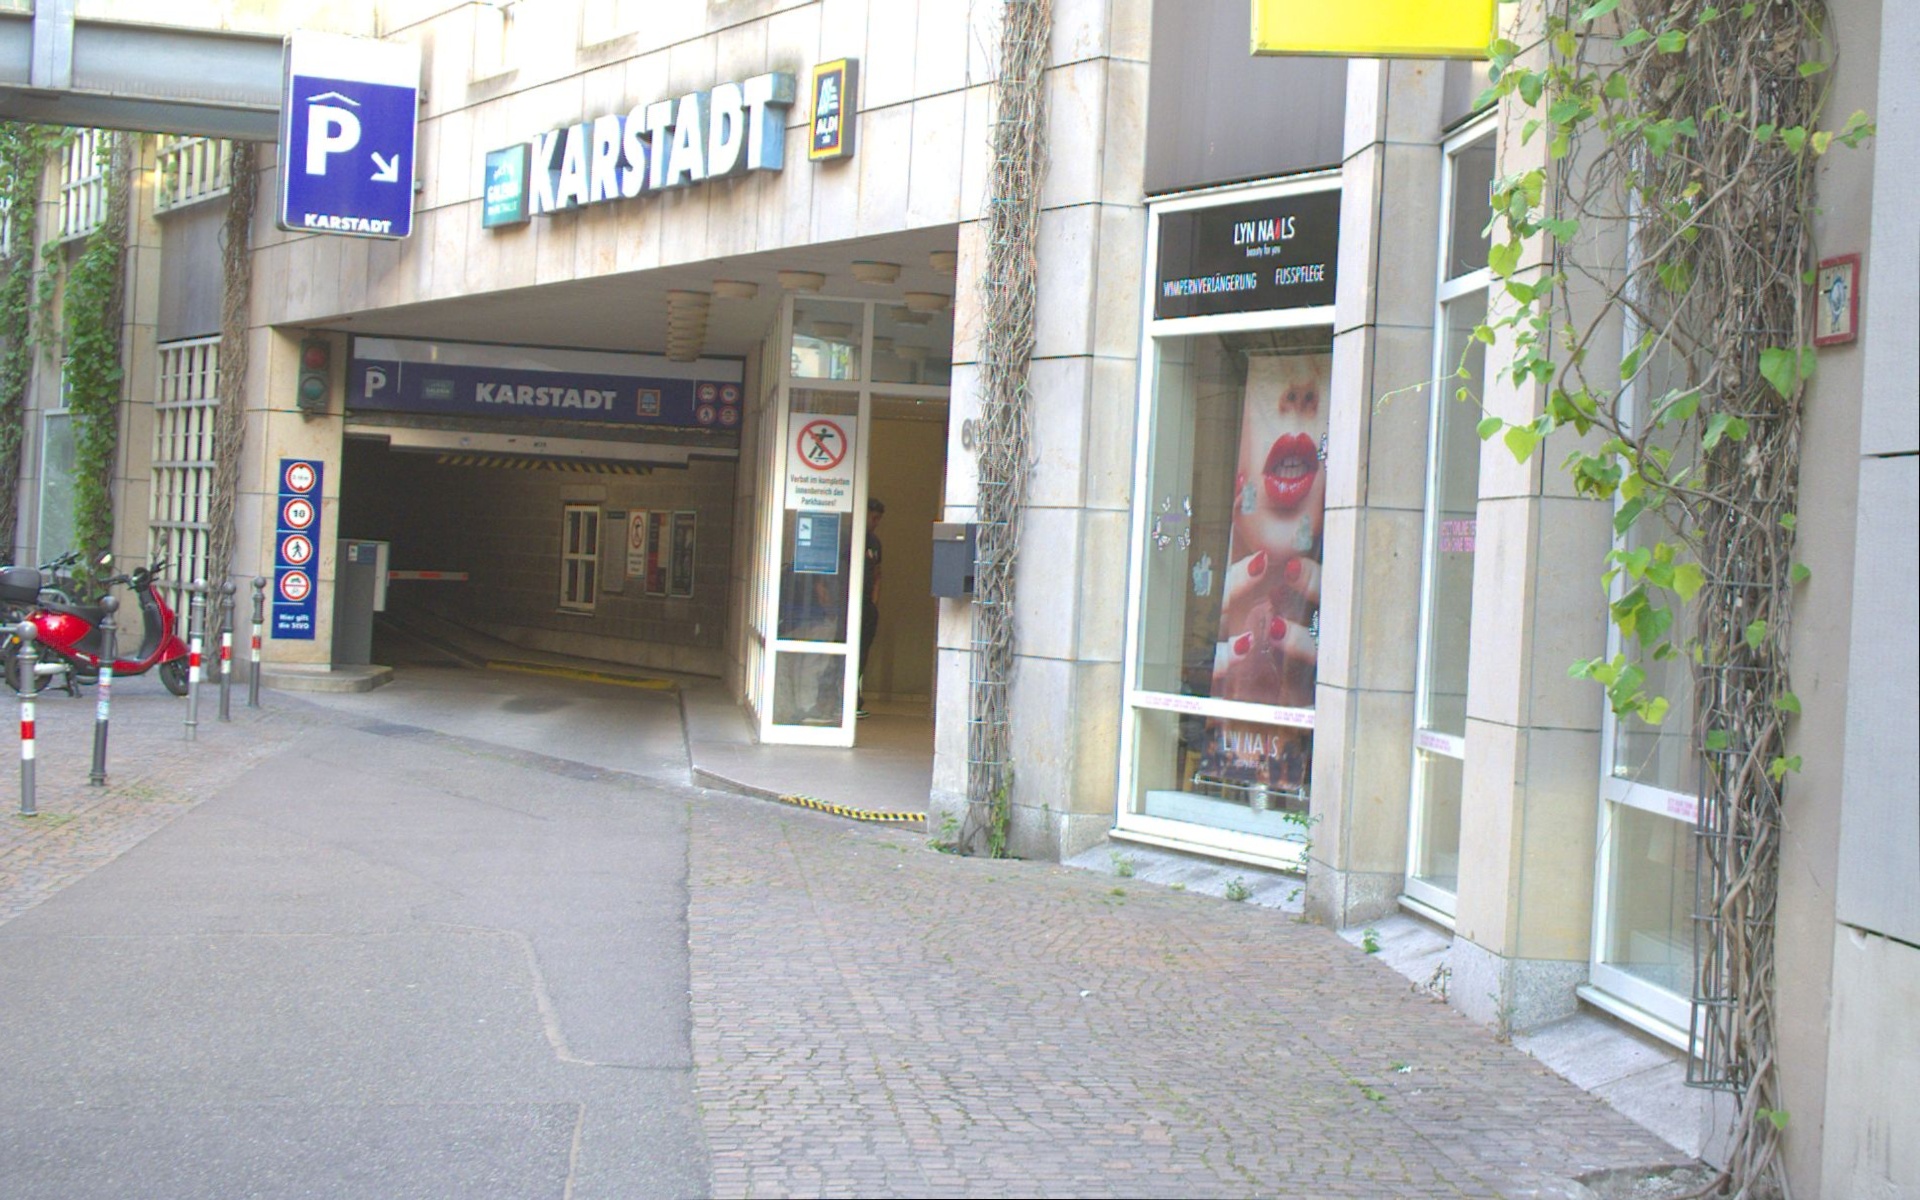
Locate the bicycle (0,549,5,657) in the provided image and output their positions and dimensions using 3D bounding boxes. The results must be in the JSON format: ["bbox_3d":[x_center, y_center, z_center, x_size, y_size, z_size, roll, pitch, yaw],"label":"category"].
[{"bbox_3d":[-10.815,-0.004,35.409,1.773,1.110,0.543,2,1,-26],"label":"bicycle"}]

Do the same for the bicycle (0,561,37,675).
[{"bbox_3d":[-9.437,0.146,31.973,1.539,1.045,0.575,2,1,-26],"label":"bicycle"}]

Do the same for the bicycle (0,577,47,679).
[{"bbox_3d":[-9.202,0.231,31.041,1.773,0.901,0.464,2,1,-26],"label":"bicycle"}]

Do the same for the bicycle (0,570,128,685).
[{"bbox_3d":[-8.323,0.233,30.267,1.847,0.978,0.464,2,1,-26],"label":"bicycle"}]

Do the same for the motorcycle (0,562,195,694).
[{"bbox_3d":[-7.294,0.238,28.727,1.662,1.047,0.464,2,1,-26],"label":"motorcycle"}]
